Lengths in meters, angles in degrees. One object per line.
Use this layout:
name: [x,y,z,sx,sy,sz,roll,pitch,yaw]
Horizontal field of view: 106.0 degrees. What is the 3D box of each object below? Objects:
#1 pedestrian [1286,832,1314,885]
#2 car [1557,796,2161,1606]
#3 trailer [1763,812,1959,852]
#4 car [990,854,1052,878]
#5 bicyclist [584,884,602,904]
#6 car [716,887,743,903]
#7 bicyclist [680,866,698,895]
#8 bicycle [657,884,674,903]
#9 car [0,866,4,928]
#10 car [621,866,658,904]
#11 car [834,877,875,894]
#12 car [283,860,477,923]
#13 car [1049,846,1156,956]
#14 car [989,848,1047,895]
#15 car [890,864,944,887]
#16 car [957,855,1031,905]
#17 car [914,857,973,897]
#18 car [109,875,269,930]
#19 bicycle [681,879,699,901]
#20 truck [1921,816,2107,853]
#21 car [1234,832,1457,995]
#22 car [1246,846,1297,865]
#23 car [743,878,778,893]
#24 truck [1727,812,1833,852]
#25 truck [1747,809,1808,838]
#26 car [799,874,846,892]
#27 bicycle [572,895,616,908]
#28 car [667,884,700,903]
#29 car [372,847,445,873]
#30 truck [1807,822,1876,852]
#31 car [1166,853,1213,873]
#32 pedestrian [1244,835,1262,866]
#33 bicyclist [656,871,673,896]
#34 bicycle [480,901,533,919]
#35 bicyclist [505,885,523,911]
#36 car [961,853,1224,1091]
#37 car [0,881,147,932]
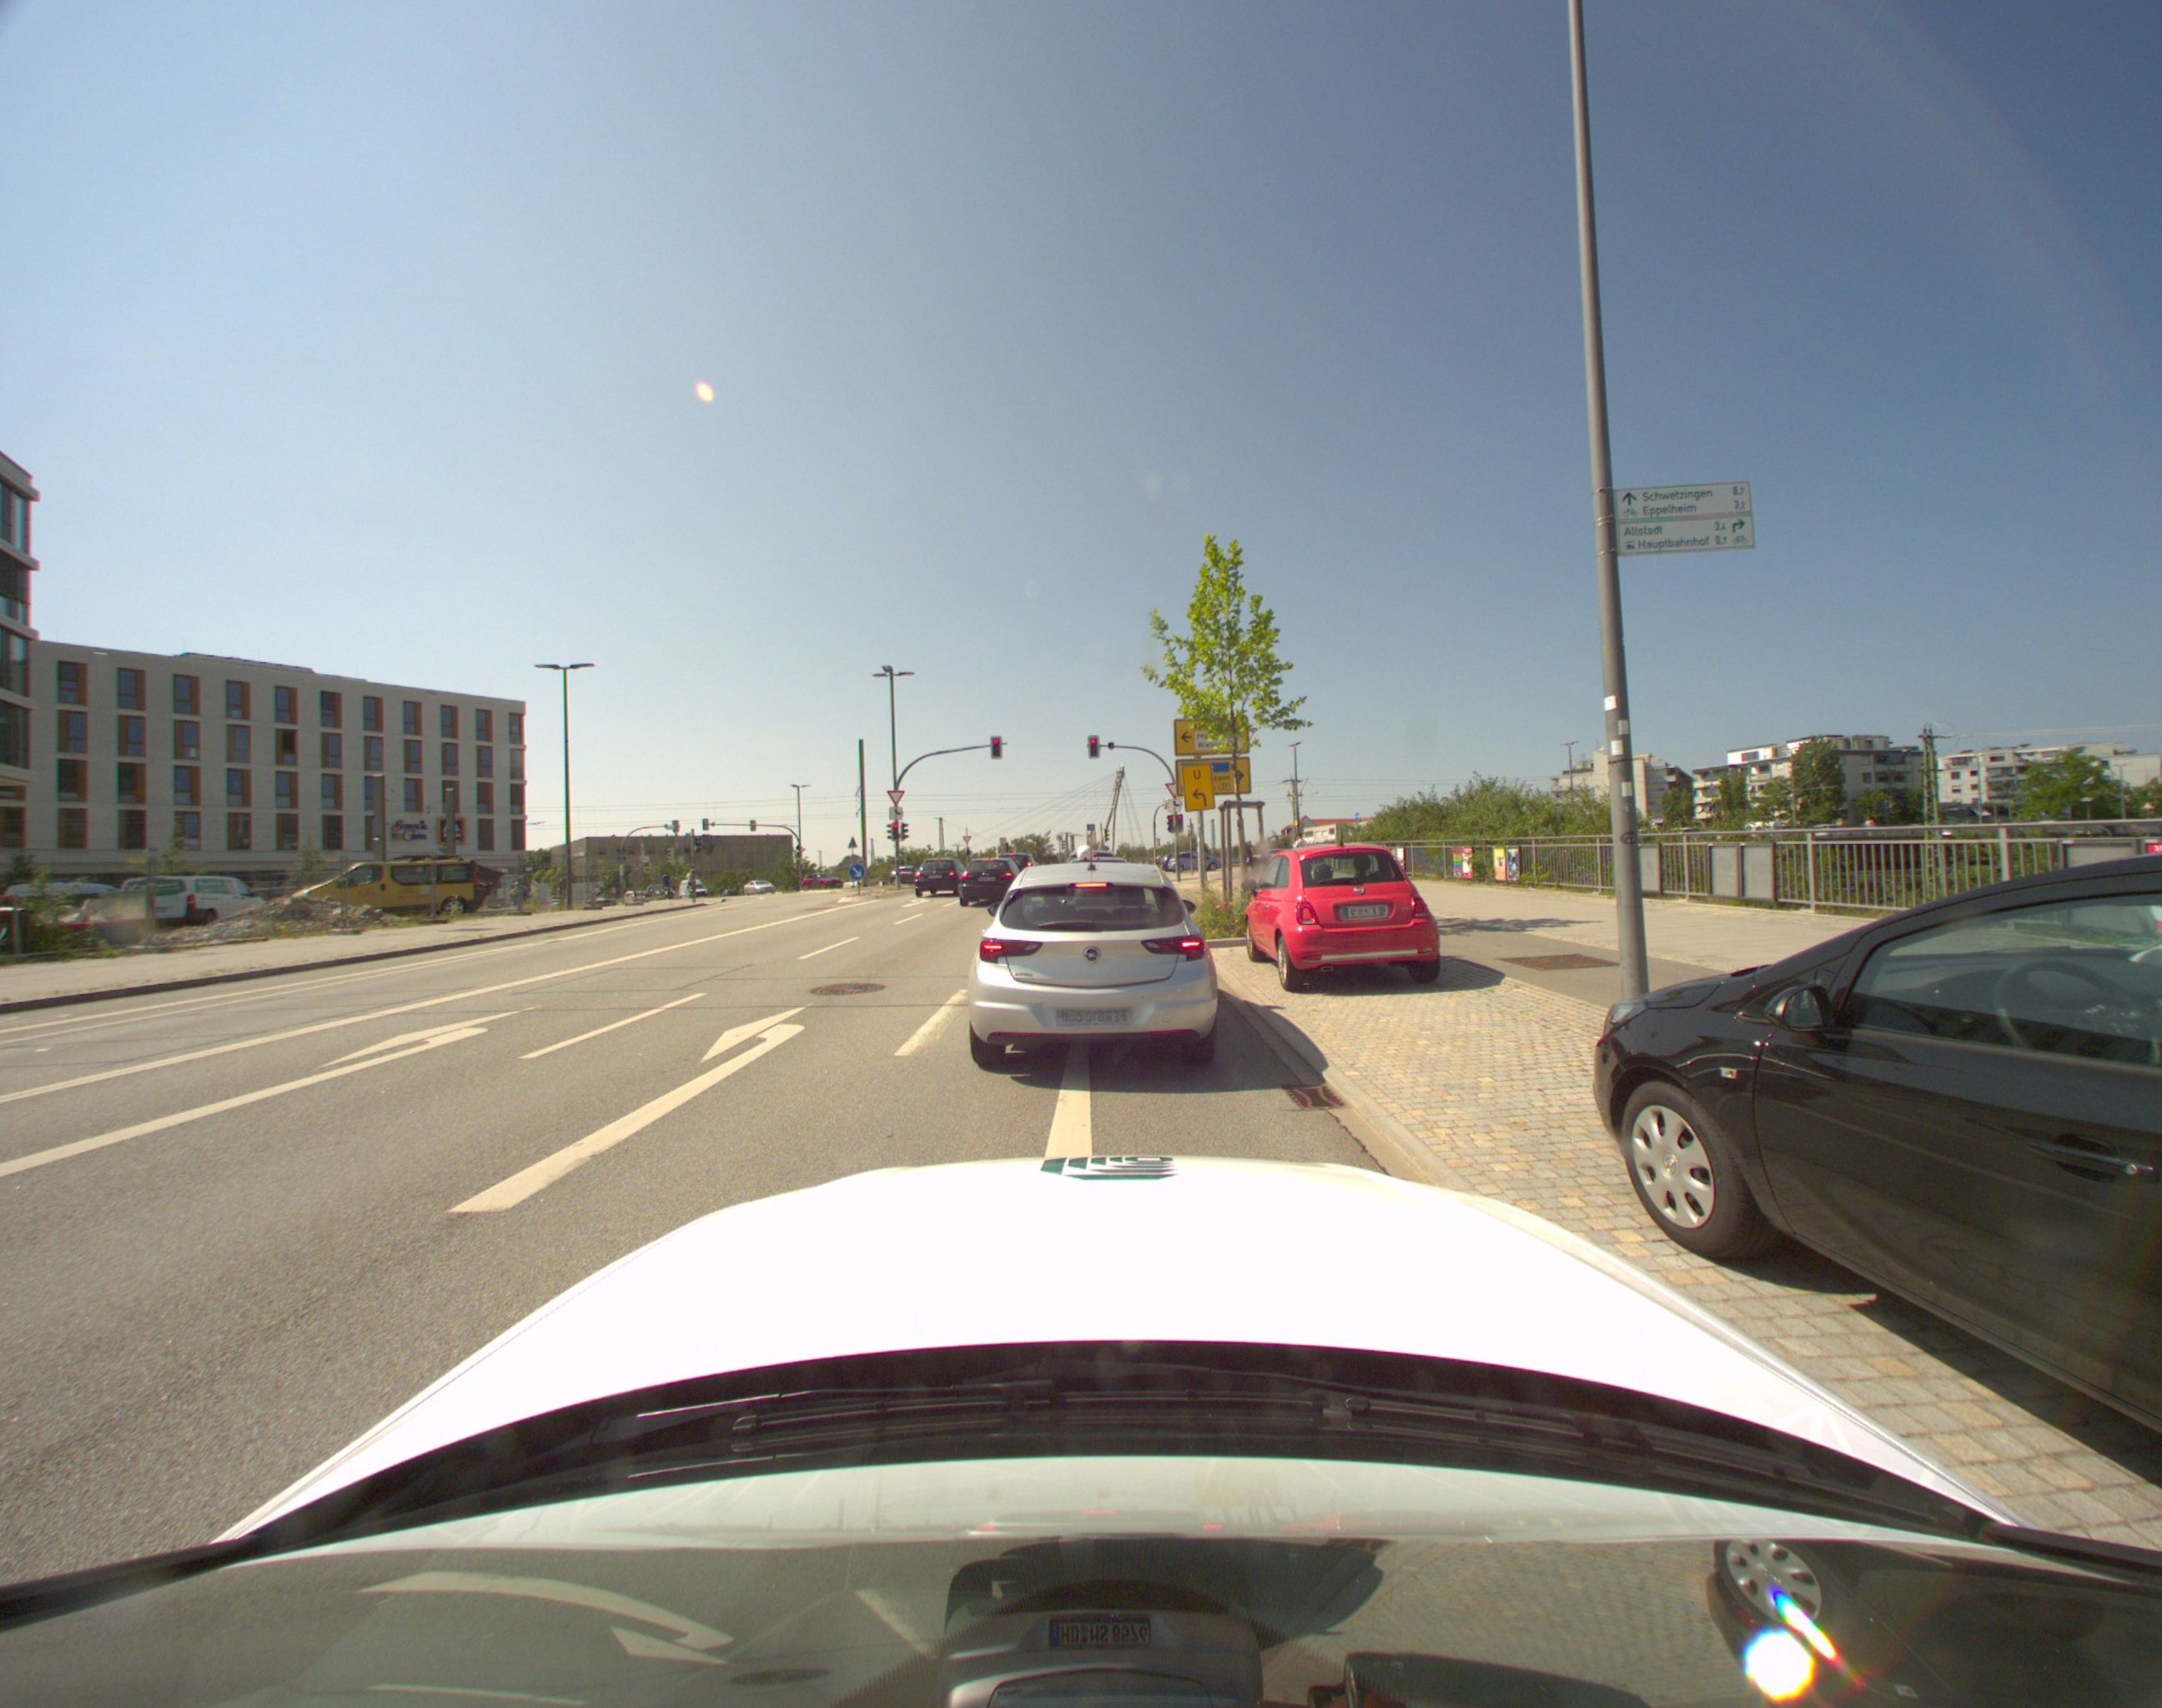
pedestrian: [7.708,0.159,28.640,0.755,1.830,0.885,0,-1,1]
car: [2.855,0.643,1.729,1.576,1.555,3.548,-4,0,1]
trailer: [68.109,-1.794,71.076,17.225,3.204,3.723,0,-1,-14]
car: [-4.669,0.922,63.768,4.523,1.783,2.004,-1,-1,7]
bicyclist: [-30.091,2.454,50.208,0.657,1.175,0.728,-4,-1,-12]
car: [-45.889,5.314,106.194,2.011,2.014,3.951,-1,-1,-43]
bicyclist: [-21.844,1.457,45.420,0.825,1.569,0.939,1,-1,-30]
bicycle: [-26.177,2.468,51.323,0.731,1.134,2.506,0,-2,-32]
car: [-36.226,1.397,25.021,2.220,2.056,4.133,0,-1,-28]
car: [-24.187,1.649,44.560,1.680,2.014,3.962,0,-1,-29]
car: [-23.682,3.260,85.028,4.155,1.645,1.845,-1,-1,34]
car: [-22.657,1.145,26.484,1.974,1.890,4.514,-1,-1,40]
car: [0.368,0.746,14.257,1.629,1.674,3.745,0,-1,1]
car: [-2.414,0.678,32.088,1.797,1.622,3.917,-4,-1,1]
car: [-13.143,1.704,65.316,4.158,1.741,1.728,-1,-1,30]
car: [-2.606,0.777,25.252,1.699,1.412,4.001,0,-1,2]
car: [-5.214,0.855,31.184,1.581,1.395,3.340,-1,-1,1]
car: [-31.062,1.621,28.573,2.003,1.707,4.526,0,-1,-23]
bicycle: [-21.822,2.003,45.423,0.679,1.127,2.342,1,-1,-31]
truck: [87.329,-1.769,76.192,17.857,3.204,3.723,0,-1,-14]
car: [2.990,0.580,10.063,1.662,1.540,3.921,-3,0,4]
car: [18.034,0.160,77.071,4.254,1.673,1.989,-1,-1,-16]
car: [-30.589,3.024,77.727,1.782,1.333,3.668,1,-1,-45]
truck: [59.069,-1.797,68.866,6.478,3.204,3.721,0,-1,-14]
truck: [64.727,-2.770,75.675,4.700,2.541,1.990,0,-1,-14]
car: [-22.201,2.460,69.976,3.948,1.455,1.695,-1,-1,33]
bicycle: [-30.086,2.919,50.307,2.247,0.692,0.514,-1,-1,-12]
car: [-44.580,4.376,91.365,3.948,2.014,1.619,-1,-1,35]
car: [-54.307,0.502,65.859,3.990,2.014,1.991,0,-1,-12]
truck: [76.895,-1.718,82.344,5.858,2.883,2.109,0,-1,-12]
car: [7.972,0.654,59.830,3.141,1.439,1.582,0,-1,-7]
pedestrian: [10.313,-0.211,48.877,0.745,1.863,0.746,1,-1,-32]
bicyclist: [-26.135,1.839,51.148,0.866,1.560,0.816,1,-1,-32]
bicycle: [-34.293,3.324,48.642,2.513,1.007,0.601,0,-6,-21]
bicyclist: [-33.954,2.619,48.758,0.659,1.502,0.838,0,-1,-20]
car: [0.123,0.776,7.424,1.685,1.520,4.271,-1,0,1]
car: [-33.660,1.679,27.233,1.809,1.508,3.965,0,-1,-27]
